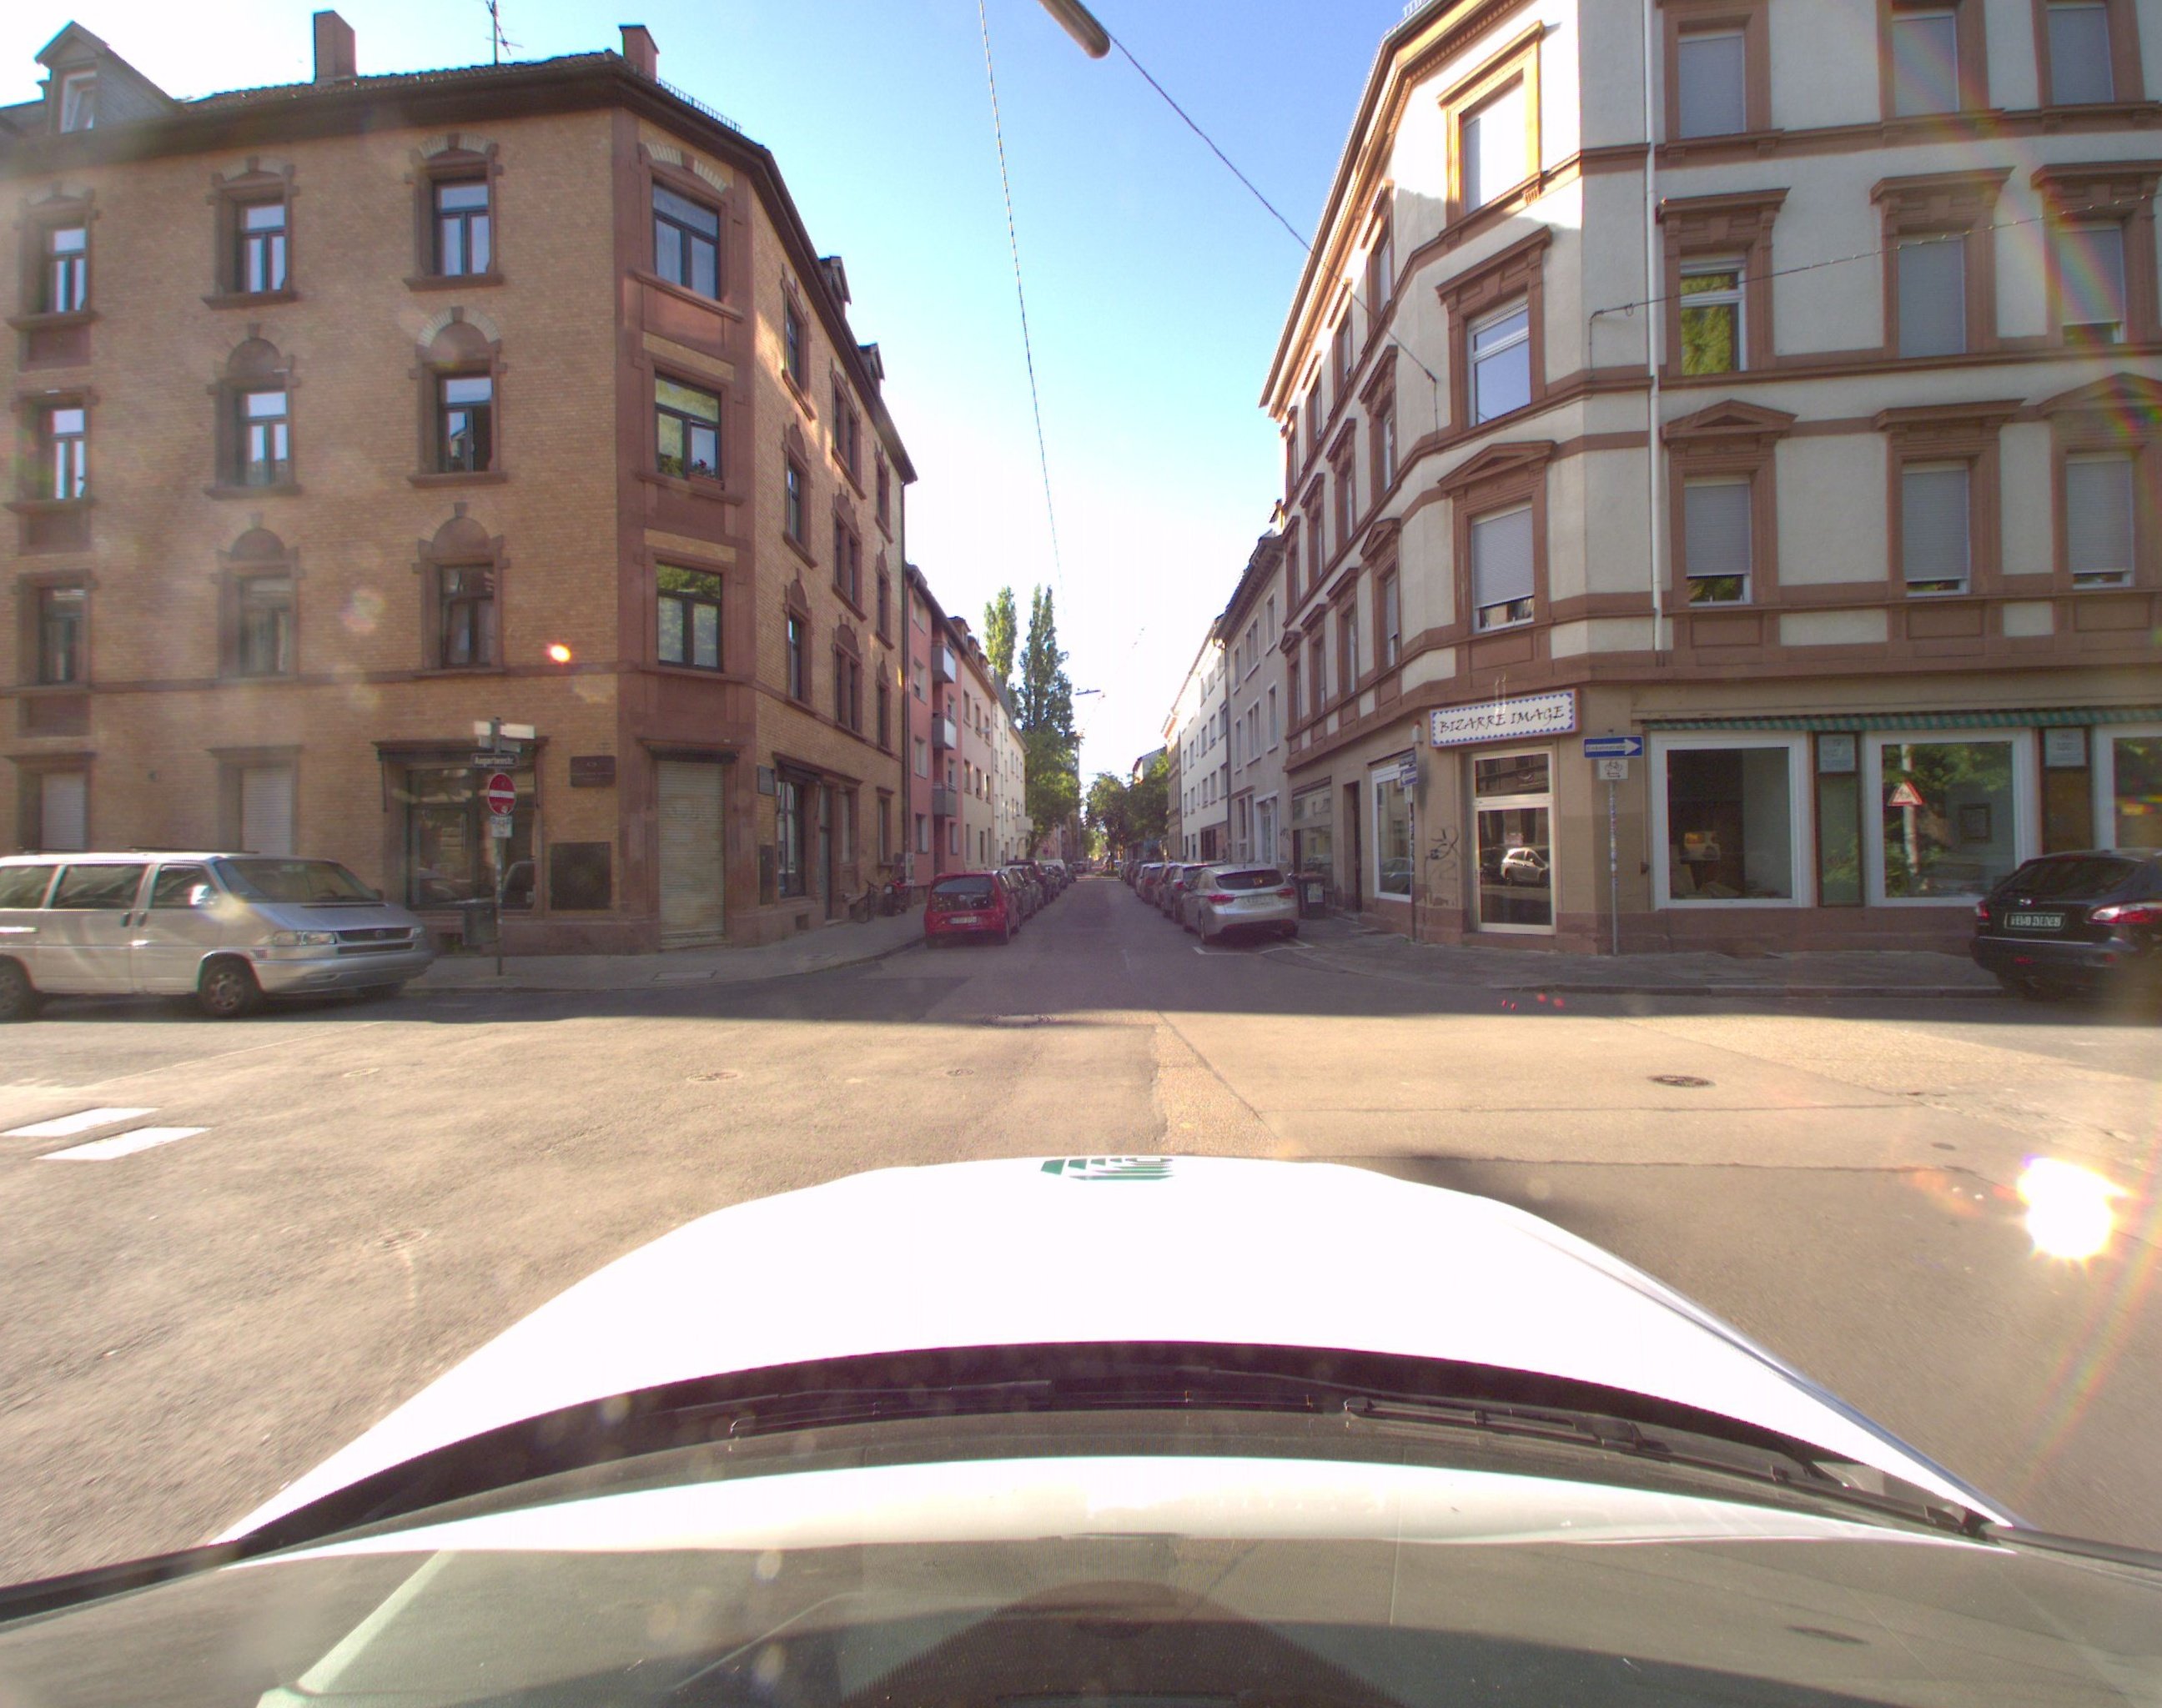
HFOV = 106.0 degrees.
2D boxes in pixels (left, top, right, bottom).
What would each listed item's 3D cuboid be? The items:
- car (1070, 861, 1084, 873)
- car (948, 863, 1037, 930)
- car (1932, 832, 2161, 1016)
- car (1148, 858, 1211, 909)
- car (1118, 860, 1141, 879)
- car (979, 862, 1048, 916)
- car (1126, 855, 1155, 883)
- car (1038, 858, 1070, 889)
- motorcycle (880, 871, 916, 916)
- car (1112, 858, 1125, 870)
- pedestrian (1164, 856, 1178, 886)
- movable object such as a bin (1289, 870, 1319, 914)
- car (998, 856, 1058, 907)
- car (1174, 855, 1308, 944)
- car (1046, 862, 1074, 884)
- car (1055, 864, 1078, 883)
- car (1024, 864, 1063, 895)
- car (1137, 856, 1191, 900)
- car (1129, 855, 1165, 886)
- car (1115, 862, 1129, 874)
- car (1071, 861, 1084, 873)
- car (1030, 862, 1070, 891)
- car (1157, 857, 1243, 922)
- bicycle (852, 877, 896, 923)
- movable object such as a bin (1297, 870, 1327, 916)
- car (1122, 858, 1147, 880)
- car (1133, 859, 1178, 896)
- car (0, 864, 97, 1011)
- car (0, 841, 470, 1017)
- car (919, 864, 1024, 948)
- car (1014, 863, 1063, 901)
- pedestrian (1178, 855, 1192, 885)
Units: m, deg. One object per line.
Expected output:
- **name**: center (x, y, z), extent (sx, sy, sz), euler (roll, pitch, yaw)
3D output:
- **car**: center (-0.516, 1.648, 105.642), extent (1.670, 1.487, 4.094), euler (-3, 0, 1)
- **car**: center (-2.280, 1.057, 22.000), extent (1.688, 1.521, 4.099), euler (-3, 0, 3)
- **car**: center (11.196, 0.621, 7.823), extent (3.897, 1.608, 1.765), euler (-1, -3, 7)
- **car**: center (3.209, 0.929, 27.259), extent (1.593, 1.507, 4.184), euler (-3, 0, 1)
- **car**: center (4.049, 1.271, 67.965), extent (1.670, 1.487, 4.094), euler (-3, 0, 1)
- **car**: center (-2.145, 1.096, 26.821), extent (1.649, 1.521, 3.947), euler (-3, 0, 3)
- **car**: center (3.880, 0.958, 53.301), extent (1.669, 1.681, 4.096), euler (-3, -1, 2)
- **car**: center (-1.649, 1.192, 51.482), extent (1.759, 1.785, 4.039), euler (-3, 0, 0)
- **motorcycle**: center (-5.237, 1.106, 23.435), extent (0.531, 1.206, 1.909), euler (-1, -1, 2)
- **car**: center (5.213, 1.365, 113.383), extent (1.670, 1.487, 3.638), euler (-3, 0, 1)
- **pedestrian**: center (5.116, 0.978, 46.174), extent (0.683, 1.660, 0.717), euler (-2, -1, 1)
- **movable object such as a bin**: center (5.449, 0.922, 19.919), extent (0.512, 1.040, 0.594), euler (-3, -1, 2)
- **car**: center (-1.999, 1.016, 32.206), extent (1.736, 1.811, 4.675), euler (-3, 0, 3)
- **car**: center (3.105, 0.828, 16.744), extent (1.739, 1.507, 4.355), euler (-3, 0, -1)
- **car**: center (-1.529, 1.364, 60.360), extent (1.662, 1.469, 3.825), euler (-3, 0, 4)
- **car**: center (-1.114, 1.496, 64.908), extent (1.664, 1.361, 4.049), euler (-3, 0, 1)
- **car**: center (-1.901, 1.291, 42.557), extent (1.667, 1.388, 4.182), euler (-3, 0, 1)
- **car**: center (3.178, 0.894, 31.689), extent (1.670, 1.507, 3.937), euler (-3, 0, 1)
- **car**: center (3.875, 0.955, 48.433), extent (1.670, 1.627, 4.250), euler (-5, -1, 1)
- **car**: center (5.417, 1.825, 107.104), extent (1.670, 1.487, 3.638), euler (-3, 0, 1)
- **car**: center (-0.485, 1.715, 111.084), extent (1.670, 1.487, 4.094), euler (-3, 0, 1)
- **car**: center (-1.755, 1.276, 46.950), extent (1.665, 1.486, 3.999), euler (-3, 0, 6)
- **car**: center (3.118, 0.891, 22.061), extent (1.738, 1.507, 4.021), euler (-3, 0, 1)
- **bicycle**: center (-5.313, 1.153, 21.016), extent (0.531, 1.074, 1.892), euler (3, 0, 2)
- **movable object such as a bin**: center (5.429, 0.916, 19.165), extent (0.512, 1.040, 0.620), euler (-3, -1, 2)
- **car**: center (4.131, 1.113, 63.060), extent (1.670, 1.561, 3.796), euler (-3, 0, 1)
- **car**: center (3.310, 1.013, 36.769), extent (1.670, 1.507, 3.937), euler (-3, 0, 1)
- **car**: center (-16.071, 1.123, 10.676), extent (4.325, 1.895, 1.943), euler (-1, -3, 7)
- **car**: center (-10.612, 0.900, 10.099), extent (4.687, 1.894, 2.030), euler (-1, -2, 6)
- **car**: center (-2.212, 1.010, 17.280), extent (1.622, 1.481, 3.601), euler (-3, 0, 1)
- **car**: center (-1.876, 1.243, 37.527), extent (1.736, 1.507, 4.349), euler (-3, 0, 3)
- **pedestrian**: center (5.881, 0.900, 46.069), extent (0.683, 1.660, 0.717), euler (-2, -1, 1)
